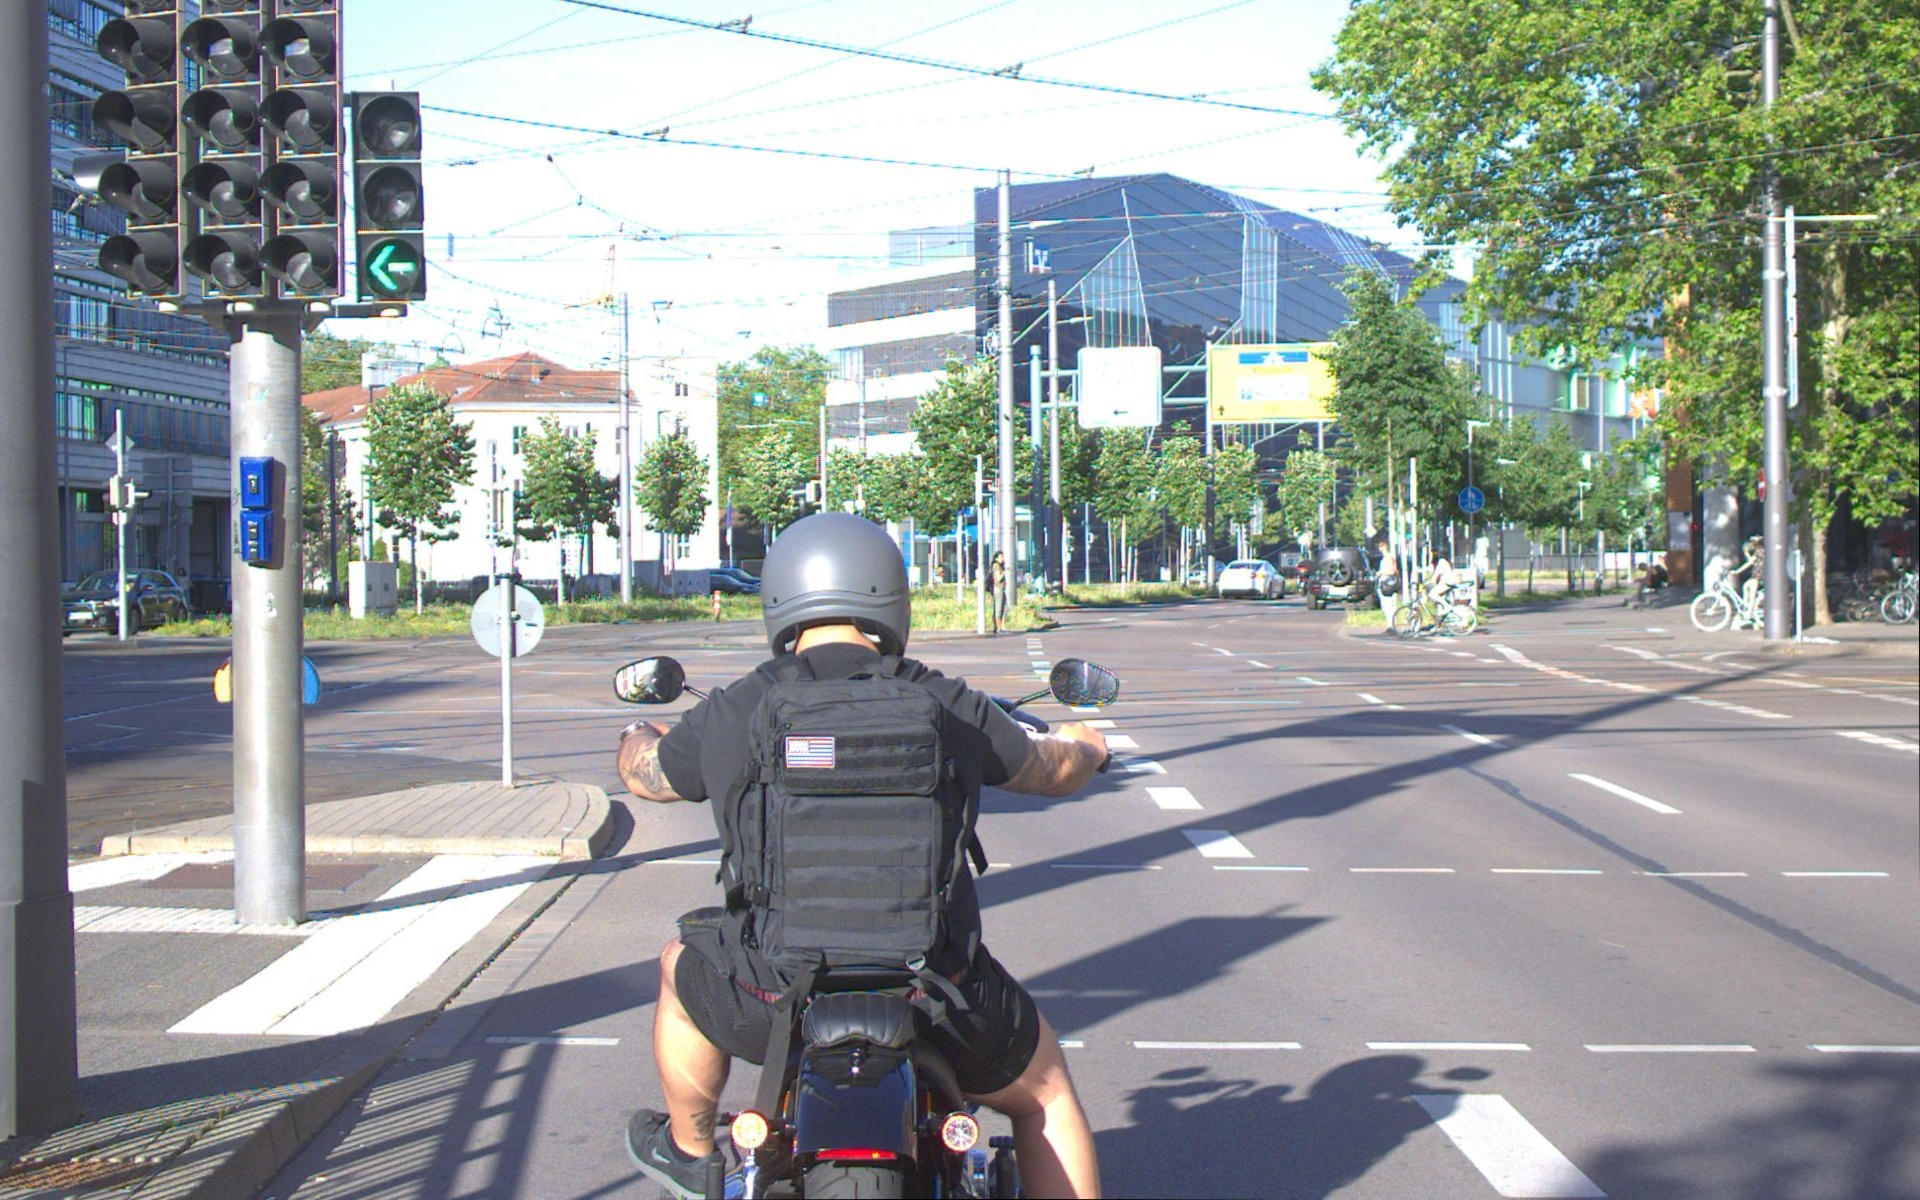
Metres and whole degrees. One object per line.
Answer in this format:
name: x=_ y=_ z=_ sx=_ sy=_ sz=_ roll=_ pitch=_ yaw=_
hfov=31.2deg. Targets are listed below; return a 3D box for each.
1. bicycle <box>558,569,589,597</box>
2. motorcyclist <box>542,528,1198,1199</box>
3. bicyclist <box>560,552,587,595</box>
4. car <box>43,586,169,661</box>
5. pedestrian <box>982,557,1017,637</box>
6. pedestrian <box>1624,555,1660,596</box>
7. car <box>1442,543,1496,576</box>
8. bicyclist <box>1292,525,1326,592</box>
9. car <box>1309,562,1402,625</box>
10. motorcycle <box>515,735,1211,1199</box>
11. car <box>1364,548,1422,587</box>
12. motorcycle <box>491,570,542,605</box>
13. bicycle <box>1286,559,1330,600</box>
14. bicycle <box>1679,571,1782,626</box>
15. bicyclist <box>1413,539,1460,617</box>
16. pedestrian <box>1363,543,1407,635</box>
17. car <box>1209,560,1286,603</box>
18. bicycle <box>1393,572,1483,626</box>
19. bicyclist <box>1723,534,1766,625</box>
bicycle: x=-15.131 y=-0.673 z=134.708 sx=0.643 sy=1.104 sz=1.684 roll=0 pitch=1 yaw=14
motorcyclist: x=-0.153 y=0.656 z=6.075 sx=1.022 sy=1.547 sz=1.286 roll=1 pitch=1 yaw=-1
bicyclist: x=-15.134 y=-1.051 z=134.694 sx=0.764 sy=1.661 sz=0.993 roll=0 pitch=1 yaw=15
car: x=-18.441 y=0.490 z=74.425 sx=1.791 sy=1.461 sz=4.311 roll=-1 pitch=1 yaw=-2
pedestrian: x=0.787 y=-0.070 z=68.260 sx=0.657 sy=1.577 sz=0.489 roll=0 pitch=1 yaw=3
pedestrian: x=17.844 y=-0.635 z=89.959 sx=0.785 sy=1.053 sz=0.813 roll=0 pitch=1 yaw=22
car: x=24.030 y=-1.916 z=162.202 sx=1.722 sy=1.479 sz=3.750 roll=0 pitch=1 yaw=21
bicyclist: x=13.682 y=-1.636 z=134.643 sx=1.017 sy=2.615 sz=1.470 roll=0 pitch=1 yaw=17
car: x=12.169 y=-0.212 z=105.538 sx=2.055 sy=1.867 sz=4.223 roll=1 pitch=0 yaw=17
motorcycle: x=-0.158 y=0.874 z=6.168 sx=1.005 sy=1.121 sz=2.323 roll=1 pitch=1 yaw=-1
car: x=18.923 y=-1.435 z=150.025 sx=1.722 sy=1.651 sz=3.750 roll=0 pitch=1 yaw=20
motorcycle: x=-16.244 y=-0.467 z=126.090 sx=0.984 sy=1.227 sz=2.941 roll=0 pitch=1 yaw=11
bicycle: x=13.639 y=-0.806 z=134.574 sx=1.017 sy=1.574 sz=3.571 roll=0 pitch=1 yaw=17
bicycle: x=14.452 y=-0.027 z=64.514 sx=1.853 sy=1.018 sz=0.516 roll=-1 pitch=0 yaw=11
bicyclist: x=9.221 y=-0.423 z=66.523 sx=0.743 sy=1.498 sz=0.569 roll=-1 pitch=0 yaw=23
pedestrian: x=8.486 y=-0.216 z=68.630 sx=0.701 sy=1.830 sz=0.514 roll=1 pitch=0 yaw=35
car: x=10.479 y=-0.662 z=124.938 sx=1.903 sy=1.503 sz=3.996 roll=1 pitch=0 yaw=18
bicycle: x=9.250 y=-0.018 z=66.506 sx=1.629 sy=1.018 sz=0.516 roll=-1 pitch=0 yaw=23
bicyclist: x=14.703 y=-0.379 z=64.443 sx=0.743 sy=1.689 sz=0.570 roll=-1 pitch=0 yaw=11
